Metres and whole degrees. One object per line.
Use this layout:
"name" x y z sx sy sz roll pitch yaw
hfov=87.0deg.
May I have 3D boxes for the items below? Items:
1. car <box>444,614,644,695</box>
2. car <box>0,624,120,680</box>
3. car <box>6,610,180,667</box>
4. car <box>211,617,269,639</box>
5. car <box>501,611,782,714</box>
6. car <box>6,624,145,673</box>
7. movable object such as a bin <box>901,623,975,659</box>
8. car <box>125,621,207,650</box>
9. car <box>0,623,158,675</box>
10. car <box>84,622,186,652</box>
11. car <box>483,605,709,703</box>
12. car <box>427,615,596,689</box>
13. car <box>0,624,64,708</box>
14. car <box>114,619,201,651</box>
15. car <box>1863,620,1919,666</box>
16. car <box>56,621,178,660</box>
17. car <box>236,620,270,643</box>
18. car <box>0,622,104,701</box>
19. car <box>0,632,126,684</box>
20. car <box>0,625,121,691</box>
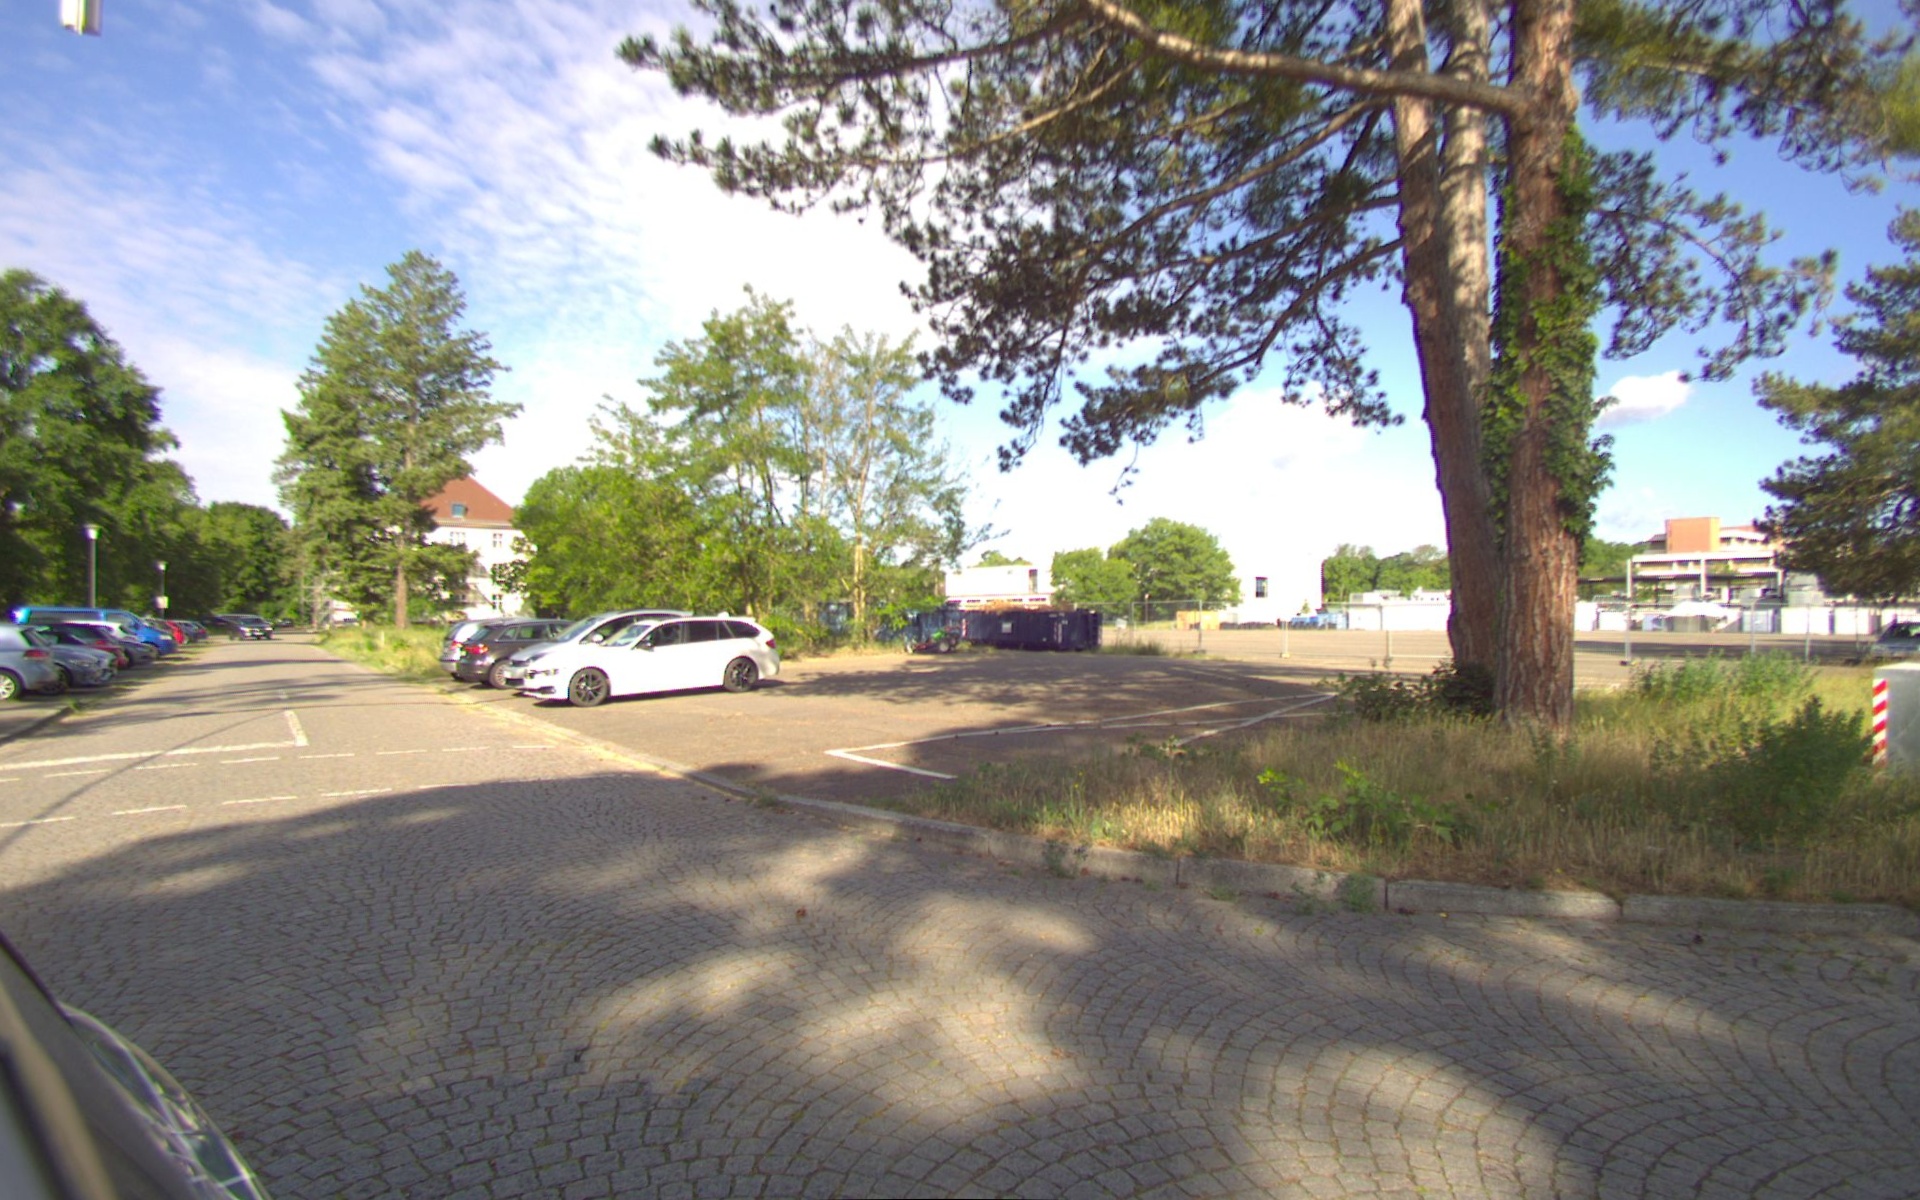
"car" -9.150 1.135 22.368 3.747 1.482 1.692 -3 1 -36
"car" -25.899 1.434 28.194 3.719 1.502 1.553 1 -2 -35
"car" -32.062 1.390 37.642 4.651 2.029 2.005 1 -1 -33
"car" -76.675 2.939 107.880 4.987 2.282 2.005 1 -2 -35
"car" -5.683 1.036 18.359 4.482 1.478 1.756 -2 0 -38
"car" -28.939 1.552 33.228 3.212 1.502 1.453 1 -1 -32
"movable object such as a bin" -0.701 1.315 32.889 2.248 1.116 1.000 1 -2 -37
"car" -51.493 2.264 65.738 3.932 1.626 1.762 -3 1 -30
"car" -27.054 1.477 31.058 3.563 1.502 1.512 0 -1 -25
"car" -43.379 1.927 53.326 3.932 1.530 1.762 1 -1 -32
"car" -7.266 1.013 20.395 3.894 1.638 1.725 -3 1 -40
"car" -10.823 1.203 24.510 3.420 1.482 1.640 -3 1 -38
"car" -18.656 1.161 17.898 3.962 1.471 1.875 2 -2 -35
"car" -48.853 2.119 61.728 3.932 1.754 1.762 -1 0 -32
"car" 29.824 1.308 31.452 3.561 1.380 1.752 1 -1 -33
"car" -37.296 1.774 44.908 3.932 1.652 1.762 1 -1 -32
"car" -50.037 2.220 71.589 1.838 1.597 4.009 1 -2 -37
"car" -20.043 1.204 20.156 4.436 1.528 1.830 2 -2 -38
"car" -23.967 1.490 26.399 3.303 1.265 1.423 1 -1 -35
"car" -21.591 1.265 22.480 4.352 1.413 1.830 3 -3 -36
